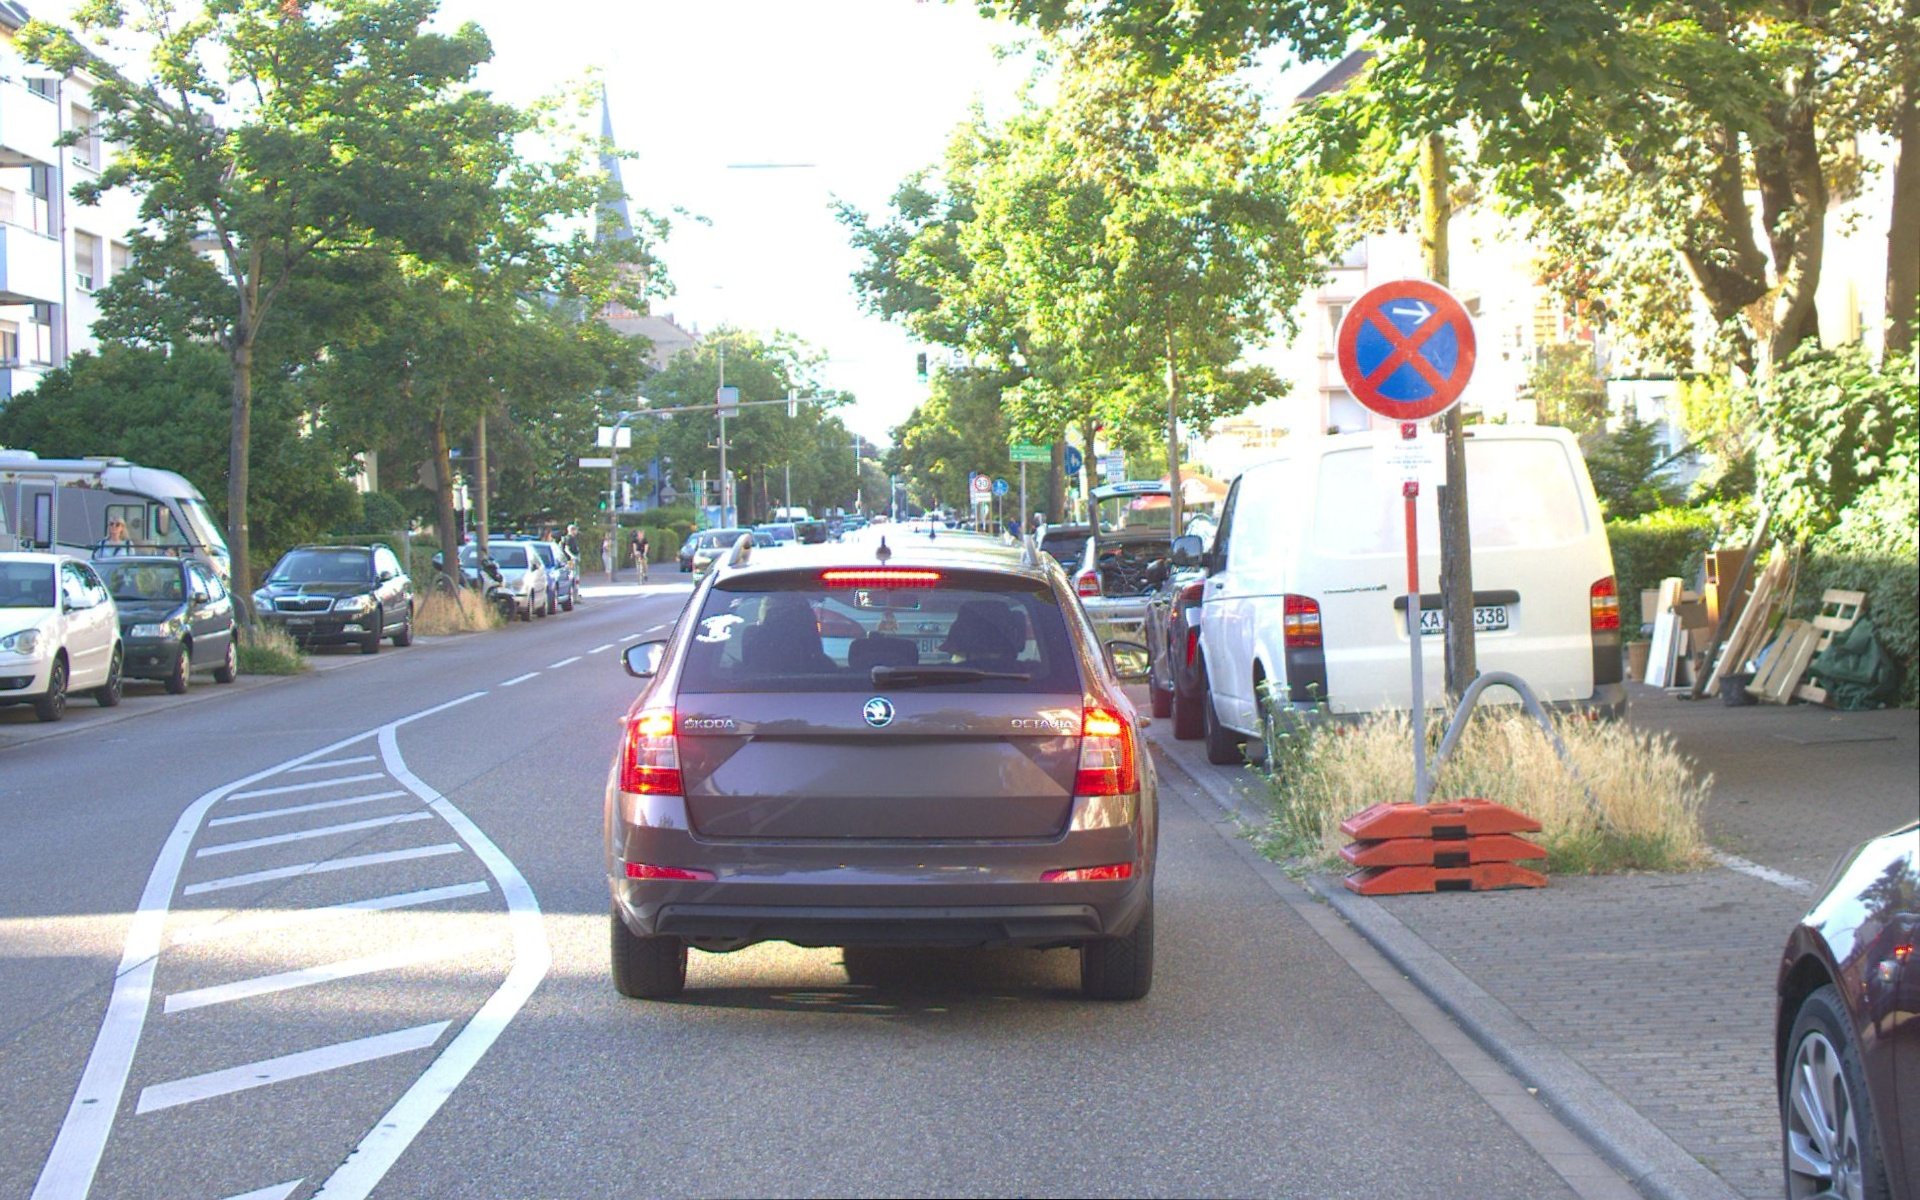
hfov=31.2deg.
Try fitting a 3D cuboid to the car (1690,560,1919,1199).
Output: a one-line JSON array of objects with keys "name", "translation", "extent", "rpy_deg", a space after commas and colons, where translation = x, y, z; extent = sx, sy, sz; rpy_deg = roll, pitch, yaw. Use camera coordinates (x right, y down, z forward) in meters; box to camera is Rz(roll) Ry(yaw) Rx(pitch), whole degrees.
[{"name": "car", "translation": [2.397, 0.657, 4.488], "extent": [1.757, 1.415, 4.615], "rpy_deg": [-3, 1, -1]}]

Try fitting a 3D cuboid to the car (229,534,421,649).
[{"name": "car", "translation": [-8.797, -0.158, 47.967], "extent": [1.867, 1.489, 4.517], "rpy_deg": [1, 1, 0]}]

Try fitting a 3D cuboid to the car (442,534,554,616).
[{"name": "car", "translation": [-8.673, -0.495, 64.739], "extent": [1.593, 1.465, 3.804], "rpy_deg": [1, 1, 0]}]

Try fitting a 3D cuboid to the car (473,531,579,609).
[{"name": "car", "translation": [-8.720, -0.624, 69.368], "extent": [1.648, 1.512, 4.074], "rpy_deg": [0, 1, 0]}]

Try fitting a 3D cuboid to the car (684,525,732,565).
[{"name": "car", "translation": [-9.306, -2.044, 127.105], "extent": [1.522, 1.452, 3.585], "rpy_deg": [-1, 1, 0]}]

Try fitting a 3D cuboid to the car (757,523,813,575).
[{"name": "car", "translation": [-6.385, -1.886, 125.888], "extent": [1.805, 1.798, 4.746], "rpy_deg": [-3, 1, -1]}]

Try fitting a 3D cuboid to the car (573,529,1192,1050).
[{"name": "car", "translation": [-0.262, 0.500, 12.020], "extent": [1.773, 1.484, 4.311], "rpy_deg": [0, 1, -1]}]

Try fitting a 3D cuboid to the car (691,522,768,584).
[{"name": "car", "translation": [-6.318, -1.289, 94.402], "extent": [1.835, 1.565, 4.000], "rpy_deg": [-3, 1, -1]}]

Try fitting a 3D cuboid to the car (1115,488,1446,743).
[{"name": "car", "translation": [2.241, 0.056, 25.165], "extent": [1.855, 1.598, 4.312], "rpy_deg": [-4, 1, -1]}]

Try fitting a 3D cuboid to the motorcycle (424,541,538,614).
[{"name": "motorcycle", "translation": [-8.505, -0.397, 61.032], "extent": [2.052, 1.260, 0.765], "rpy_deg": [0, 1, 38]}]

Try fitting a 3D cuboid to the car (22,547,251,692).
[{"name": "car", "translation": [-8.567, 0.165, 36.022], "extent": [1.543, 1.391, 3.666], "rpy_deg": [-1, 1, -1]}]

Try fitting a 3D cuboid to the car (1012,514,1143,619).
[{"name": "car", "translation": [1.881, -0.578, 56.191], "extent": [1.855, 1.576, 4.014], "rpy_deg": [-3, 1, -1]}]

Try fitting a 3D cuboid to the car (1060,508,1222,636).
[{"name": "car", "translation": [2.270, -0.391, 43.995], "extent": [1.708, 1.475, 4.269], "rpy_deg": [-3, 1, -1]}]

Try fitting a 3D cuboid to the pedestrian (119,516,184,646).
[{"name": "pedestrian", "translation": [-11.291, -0.272, 48.043], "extent": [0.713, 1.786, 0.572], "rpy_deg": [-1, 1, 2]}]

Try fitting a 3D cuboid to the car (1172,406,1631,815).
[{"name": "car", "translation": [2.446, 0.000, 20.217], "extent": [1.903, 2.096, 4.641], "rpy_deg": [-1, 1, -2]}]

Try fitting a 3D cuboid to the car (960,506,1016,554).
[{"name": "car", "translation": [1.102, -2.671, 131.384], "extent": [1.994, 1.766, 4.000], "rpy_deg": [1, 1, 2]}]

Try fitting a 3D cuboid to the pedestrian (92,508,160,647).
[{"name": "pedestrian", "translation": [-10.822, -0.296, 44.618], "extent": [0.713, 1.786, 0.506], "rpy_deg": [-1, 1, 2]}]

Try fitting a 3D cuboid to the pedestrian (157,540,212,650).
[{"name": "pedestrian", "translation": [-10.694, -0.073, 47.407], "extent": [0.590, 1.490, 0.542], "rpy_deg": [-1, 1, 2]}]

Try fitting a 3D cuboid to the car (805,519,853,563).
[{"name": "car", "translation": [-5.998, -2.713, 157.444], "extent": [1.993, 1.902, 4.964], "rpy_deg": [-3, 1, -1]}]

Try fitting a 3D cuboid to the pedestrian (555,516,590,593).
[{"name": "pedestrian", "translation": [-10.169, -1.200, 90.316], "extent": [0.780, 1.981, 0.821], "rpy_deg": [-1, 1, 0]}]

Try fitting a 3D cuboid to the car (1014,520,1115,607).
[{"name": "car", "translation": [1.884, -0.687, 62.001], "extent": [1.703, 1.445, 4.013], "rpy_deg": [-3, 1, 2]}]

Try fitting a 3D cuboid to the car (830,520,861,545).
[{"name": "car", "translation": [-7.358, -4.361, 221.595], "extent": [1.830, 1.574, 4.000], "rpy_deg": [-1, 1, 0]}]

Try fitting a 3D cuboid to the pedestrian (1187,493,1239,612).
[{"name": "pedestrian", "translation": [3.787, -0.712, 51.551], "extent": [0.662, 1.743, 0.772], "rpy_deg": [-3, 1, 1]}]

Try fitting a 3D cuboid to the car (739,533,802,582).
[{"name": "car", "translation": [-6.151, -1.399, 111.764], "extent": [1.760, 1.447, 4.534], "rpy_deg": [-3, 1, 0]}]

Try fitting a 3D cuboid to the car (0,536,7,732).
[{"name": "car", "translation": [-8.296, 0.315, 25.090], "extent": [1.593, 1.518, 3.436], "rpy_deg": [-1, 1, 2]}]

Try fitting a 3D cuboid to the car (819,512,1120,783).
[{"name": "car", "translation": [0.029, 0.235, 22.129], "extent": [1.736, 1.565, 4.000], "rpy_deg": [1, 1, -1]}]

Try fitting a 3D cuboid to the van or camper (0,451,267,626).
[{"name": "van or camper", "translation": [-15.148, -1.056, 57.094], "extent": [6.797, 2.763, 2.352], "rpy_deg": [1, 1, -1]}]

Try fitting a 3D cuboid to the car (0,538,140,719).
[{"name": "car", "translation": [-8.677, 0.217, 31.252], "extent": [1.593, 1.518, 3.891], "rpy_deg": [-1, 1, -2]}]
